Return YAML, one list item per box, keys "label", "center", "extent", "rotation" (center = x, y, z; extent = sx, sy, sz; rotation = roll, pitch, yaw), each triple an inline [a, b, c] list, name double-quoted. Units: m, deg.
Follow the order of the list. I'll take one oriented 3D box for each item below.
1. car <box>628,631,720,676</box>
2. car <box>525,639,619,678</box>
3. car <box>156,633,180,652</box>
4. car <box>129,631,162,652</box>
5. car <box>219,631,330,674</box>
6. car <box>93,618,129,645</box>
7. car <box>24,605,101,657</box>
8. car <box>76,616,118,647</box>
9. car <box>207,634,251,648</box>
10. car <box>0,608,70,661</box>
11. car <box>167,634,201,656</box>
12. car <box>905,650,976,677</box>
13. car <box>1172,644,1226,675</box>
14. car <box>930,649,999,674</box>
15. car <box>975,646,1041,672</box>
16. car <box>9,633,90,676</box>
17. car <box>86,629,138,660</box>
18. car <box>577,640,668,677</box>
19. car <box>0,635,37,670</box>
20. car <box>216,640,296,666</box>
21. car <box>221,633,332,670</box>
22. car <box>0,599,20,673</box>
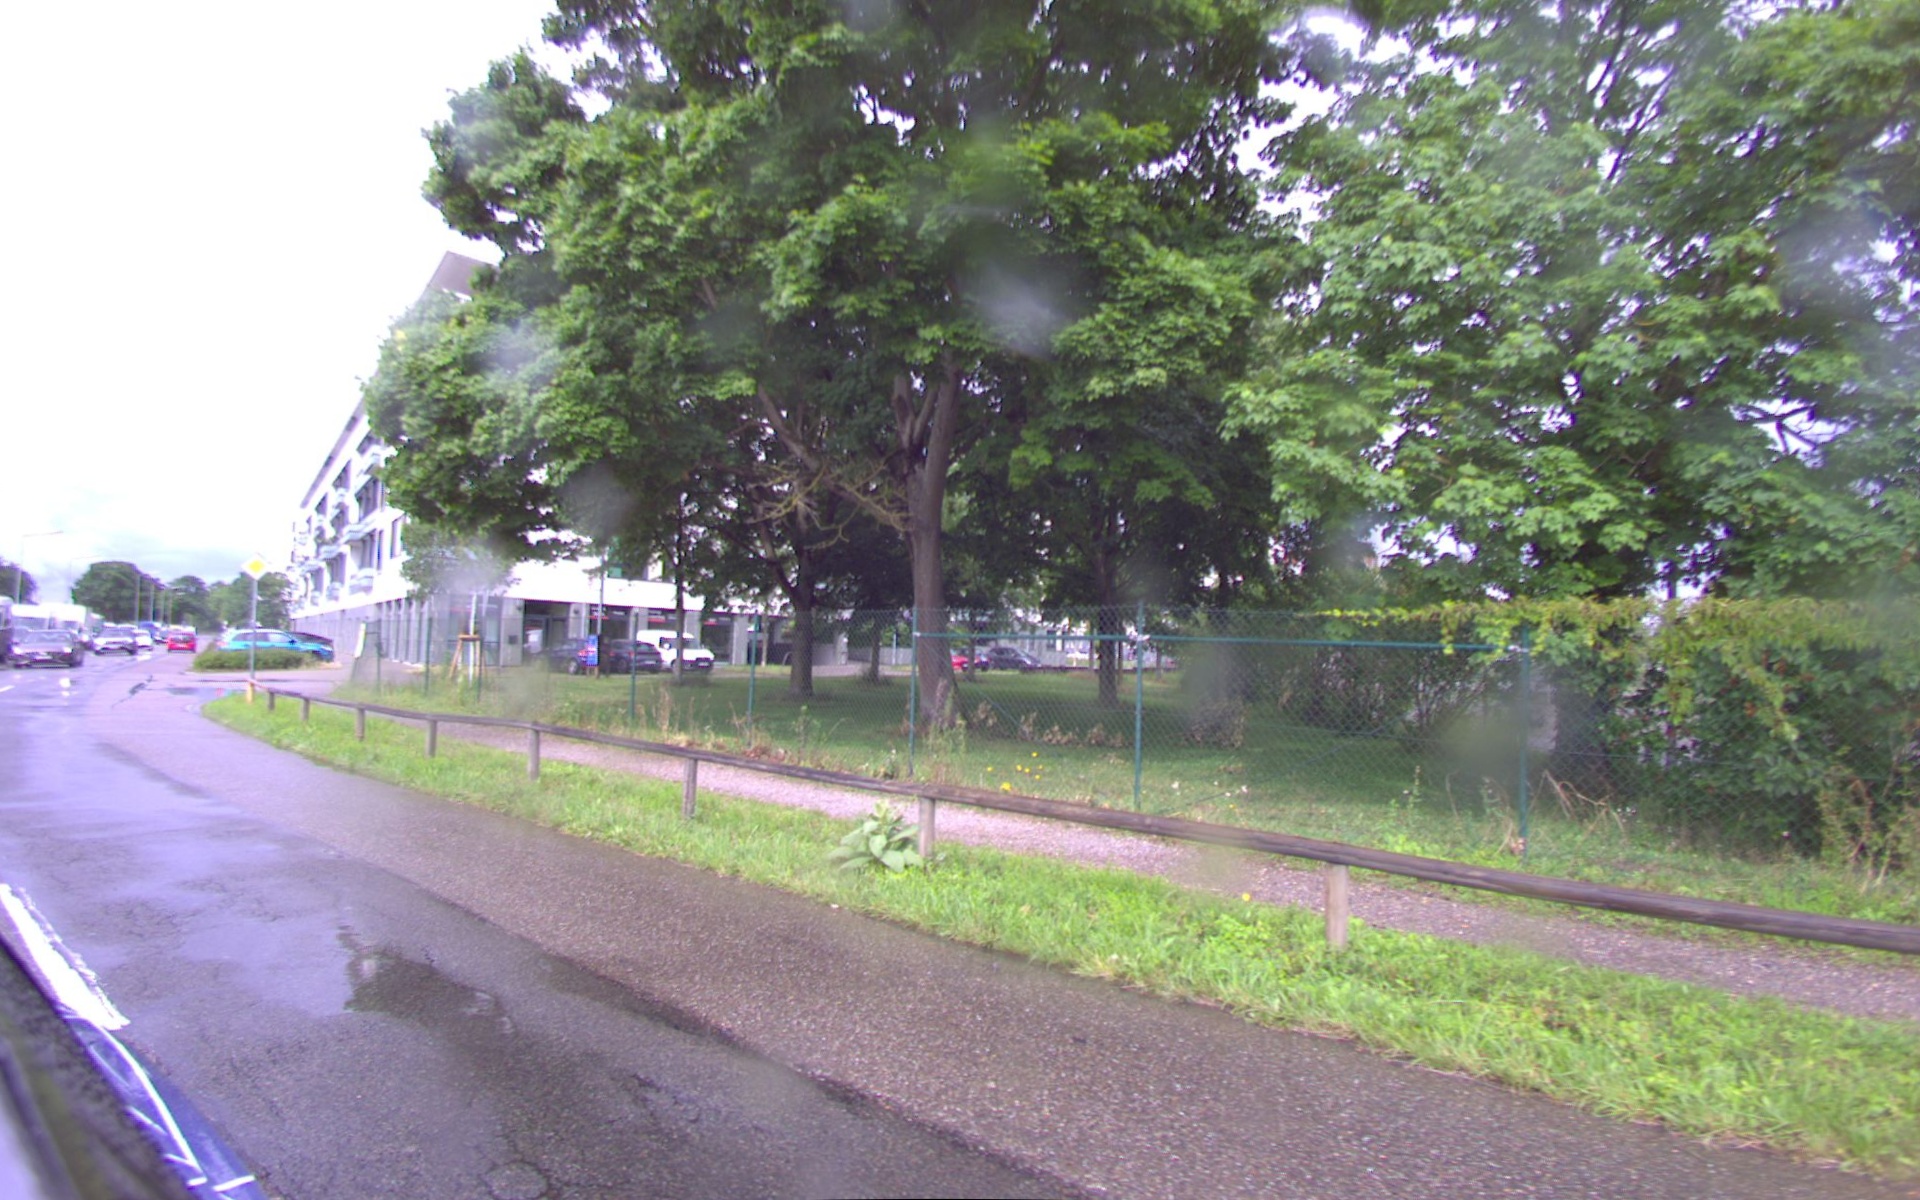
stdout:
- label: "car"
  center: [-12.856, 2.363, 45.440]
  extent: [4.341, 1.849, 1.623]
  rotation: [0, -1, 36]
- label: "car"
  center: [-15.983, 2.379, 41.601]
  extent: [4.180, 1.407, 1.623]
  rotation: [0, -1, 36]
- label: "car"
  center: [-85.471, 4.561, 109.210]
  extent: [1.968, 2.029, 4.007]
  rotation: [0, -2, -39]
- label: "car"
  center: [-62.897, 3.215, 78.227]
  extent: [1.813, 1.530, 4.366]
  rotation: [4, -4, -37]
- label: "car"
  center: [-28.492, 2.141, 42.149]
  extent: [3.759, 1.646, 1.759]
  rotation: [0, -1, -34]
- label: "car"
  center: [-73.230, 2.729, 87.364]
  extent: [1.967, 2.259, 4.574]
  rotation: [4, -4, -36]
- label: "car"
  center: [-55.654, 1.975, 62.921]
  extent: [2.437, 2.978, 6.904]
  rotation: [5, -5, -33]
- label: "car"
  center: [-65.690, 2.429, 77.071]
  extent: [1.967, 2.259, 4.574]
  rotation: [4, -4, -36]
- label: "car"
  center: [-78.151, 4.415, 108.219]
  extent: [3.739, 1.381, 1.748]
  rotation: [0, -1, -37]
- label: "car"
  center: [-49.488, 1.882, 54.014]
  extent: [2.041, 2.548, 6.673]
  rotation: [6, -5, -35]
- label: "car"
  center: [-55.768, 3.218, 72.804]
  extent: [1.634, 1.479, 3.398]
  rotation: [3, -4, -33]
- label: "car"
  center: [-1.210, 3.792, 61.029]
  extent: [4.177, 1.407, 1.623]
  rotation: [0, -1, 36]
- label: "car"
  center: [21.527, 5.300, 90.951]
  extent: [1.966, 2.634, 6.550]
  rotation: [0, -2, 41]
- label: "car"
  center: [0.263, 3.815, 63.384]
  extent: [4.177, 1.407, 1.623]
  rotation: [0, -1, 36]
- label: "car"
  center: [3.143, 3.867, 66.609]
  extent: [4.177, 1.547, 1.623]
  rotation: [0, -1, 36]
- label: "car"
  center: [-34.803, 2.072, 38.776]
  extent: [1.844, 1.531, 4.367]
  rotation: [1, -3, -36]
- label: "car"
  center: [-50.785, 2.645, 60.656]
  extent: [1.978, 1.718, 4.339]
  rotation: [4, -4, -36]
- label: "car"
  center: [-14.542, 2.476, 43.544]
  extent: [4.121, 1.407, 1.668]
  rotation: [0, -1, 36]
- label: "car"
  center: [-44.042, 2.386, 46.475]
  extent: [1.706, 1.505, 4.452]
  rotation: [6, -5, -34]
- label: "car"
  center: [-40.349, 3.014, 58.058]
  extent: [3.681, 1.383, 1.648]
  rotation: [1, -2, -36]
- label: "car"
  center: [-31.166, 2.328, 46.198]
  extent: [4.118, 1.561, 1.864]
  rotation: [0, -2, -37]
- label: "car"
  center: [-39.389, 1.373, 40.286]
  extent: [2.116, 2.905, 5.287]
  rotation: [7, -6, -37]
